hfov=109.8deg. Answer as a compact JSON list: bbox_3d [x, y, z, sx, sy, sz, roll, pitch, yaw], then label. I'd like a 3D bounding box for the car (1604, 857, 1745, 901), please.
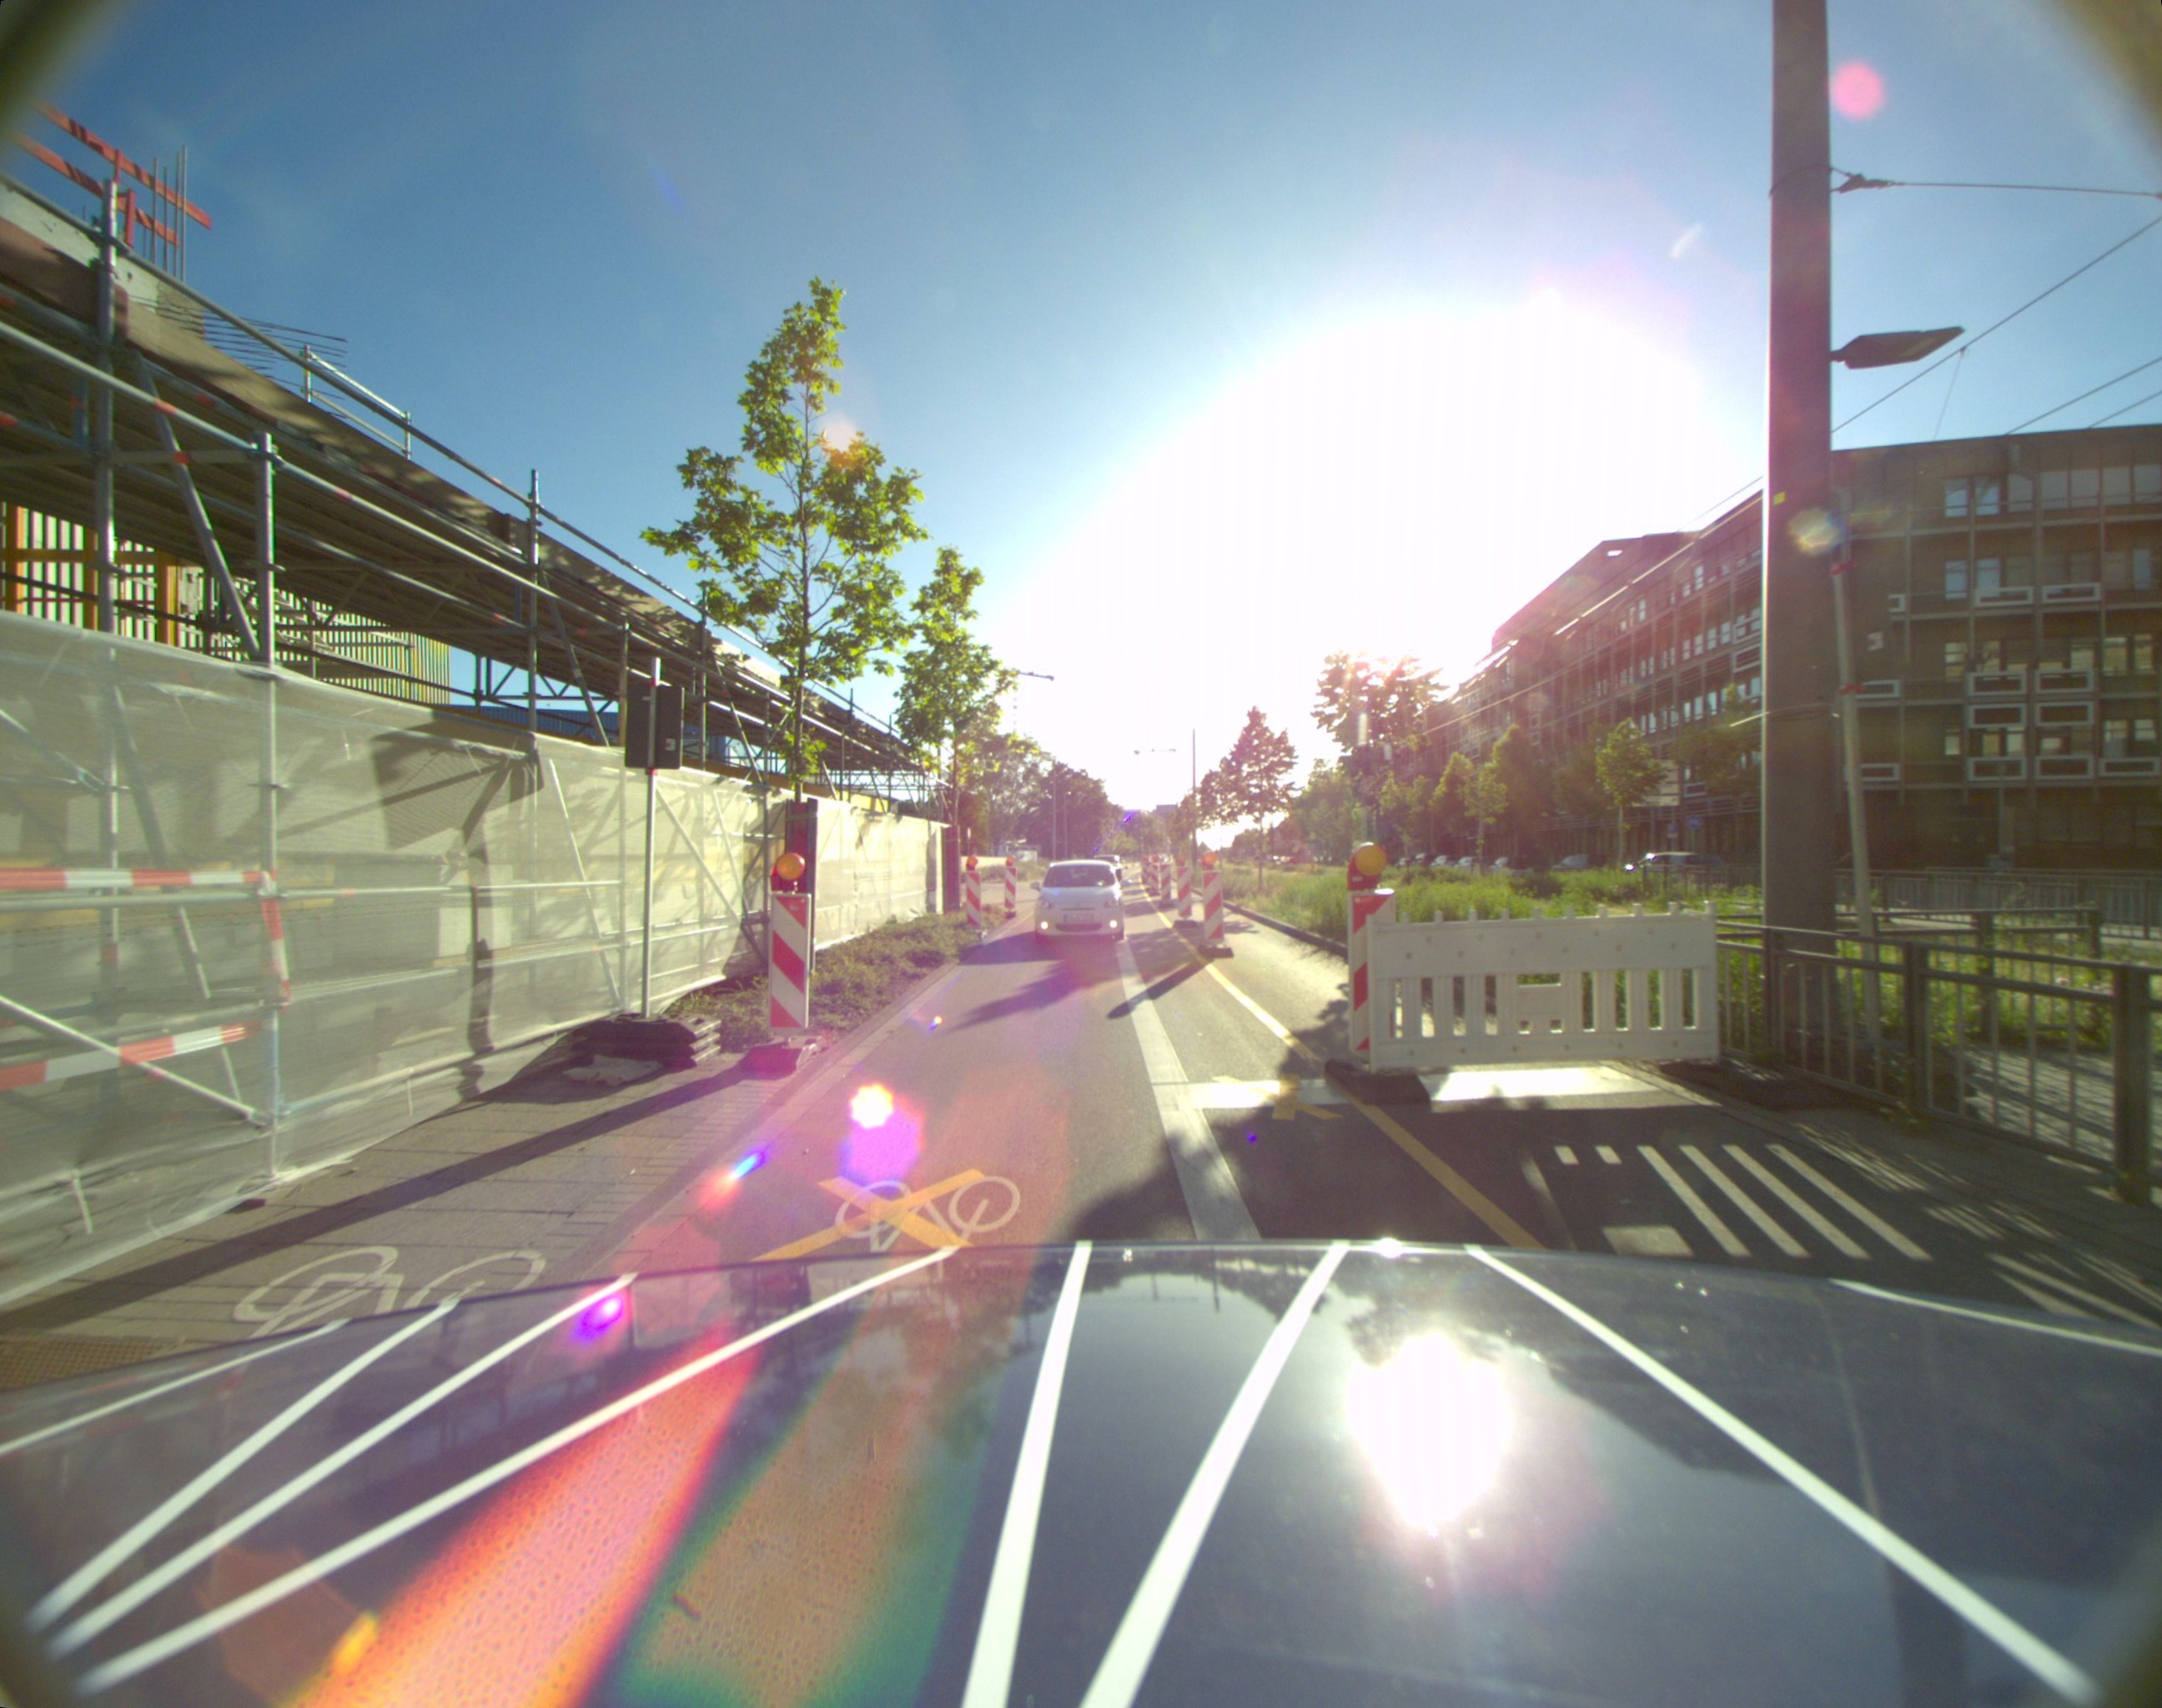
[{"bbox_3d":[20.768,0.825,26.832,1.857,1.411,4.070,1,0,2],"label":"car"}]

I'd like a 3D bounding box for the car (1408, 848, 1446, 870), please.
[{"bbox_3d":[29.686,0.432,65.293,1.754,1.760,4.334,-2,-1,8],"label":"car"}]

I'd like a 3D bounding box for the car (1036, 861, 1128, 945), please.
[{"bbox_3d":[0.124,0.930,15.909,1.614,1.488,3.396,-3,0,4],"label":"car"}]

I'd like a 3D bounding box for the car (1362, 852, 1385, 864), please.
[{"bbox_3d":[32.845,0.429,85.368,1.719,1.379,4.043,-1,0,11],"label":"car"}]

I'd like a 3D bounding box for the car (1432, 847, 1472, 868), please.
[{"bbox_3d":[29.308,0.282,60.177,1.741,1.527,3.887,-1,-1,8],"label":"car"}]

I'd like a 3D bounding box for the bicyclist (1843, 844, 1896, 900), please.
[{"bbox_3d":[23.712,0.539,22.866,0.696,1.648,0.882,-1,0,2],"label":"bicyclist"}]

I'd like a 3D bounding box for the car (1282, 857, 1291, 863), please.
[{"bbox_3d":[45.716,1.309,168.894,1.630,1.487,4.420,0,0,10],"label":"car"}]

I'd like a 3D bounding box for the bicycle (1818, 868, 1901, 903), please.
[{"bbox_3d":[23.487,0.939,22.976,0.696,0.972,1.827,-1,0,2],"label":"bicycle"}]

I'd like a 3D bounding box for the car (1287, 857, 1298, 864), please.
[{"bbox_3d":[44.249,1.410,158.975,1.719,1.379,4.042,-1,0,9],"label":"car"}]

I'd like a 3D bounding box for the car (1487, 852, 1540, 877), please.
[{"bbox_3d":[28.121,0.657,49.505,1.652,1.545,3.969,-1,0,9],"label":"car"}]

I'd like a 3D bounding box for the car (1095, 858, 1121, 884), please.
[{"bbox_3d":[1.585,0.963,44.912,1.458,1.472,3.528,0,0,1],"label":"car"}]

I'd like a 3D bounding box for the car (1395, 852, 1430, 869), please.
[{"bbox_3d":[30.680,0.610,70.421,1.733,1.460,4.507,-2,-1,7],"label":"car"}]

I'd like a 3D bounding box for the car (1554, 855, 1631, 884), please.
[{"bbox_3d":[27.387,0.816,40.849,1.734,1.452,3.901,-2,0,4],"label":"car"}]

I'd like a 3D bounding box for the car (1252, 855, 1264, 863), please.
[{"bbox_3d":[35.873,1.012,154.017,1.731,1.736,4.123,-1,0,6],"label":"car"}]

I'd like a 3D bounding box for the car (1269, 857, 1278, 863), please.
[{"bbox_3d":[42.995,1.335,169.647,1.631,1.487,3.782,0,0,8],"label":"car"}]

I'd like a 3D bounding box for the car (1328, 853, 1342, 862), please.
[{"bbox_3d":[44.343,0.564,132.823,1.725,1.535,3.634,-2,0,8],"label":"car"}]

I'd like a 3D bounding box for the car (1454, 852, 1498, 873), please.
[{"bbox_3d":[28.542,0.606,55.016,1.627,1.433,3.821,-2,0,8],"label":"car"}]
